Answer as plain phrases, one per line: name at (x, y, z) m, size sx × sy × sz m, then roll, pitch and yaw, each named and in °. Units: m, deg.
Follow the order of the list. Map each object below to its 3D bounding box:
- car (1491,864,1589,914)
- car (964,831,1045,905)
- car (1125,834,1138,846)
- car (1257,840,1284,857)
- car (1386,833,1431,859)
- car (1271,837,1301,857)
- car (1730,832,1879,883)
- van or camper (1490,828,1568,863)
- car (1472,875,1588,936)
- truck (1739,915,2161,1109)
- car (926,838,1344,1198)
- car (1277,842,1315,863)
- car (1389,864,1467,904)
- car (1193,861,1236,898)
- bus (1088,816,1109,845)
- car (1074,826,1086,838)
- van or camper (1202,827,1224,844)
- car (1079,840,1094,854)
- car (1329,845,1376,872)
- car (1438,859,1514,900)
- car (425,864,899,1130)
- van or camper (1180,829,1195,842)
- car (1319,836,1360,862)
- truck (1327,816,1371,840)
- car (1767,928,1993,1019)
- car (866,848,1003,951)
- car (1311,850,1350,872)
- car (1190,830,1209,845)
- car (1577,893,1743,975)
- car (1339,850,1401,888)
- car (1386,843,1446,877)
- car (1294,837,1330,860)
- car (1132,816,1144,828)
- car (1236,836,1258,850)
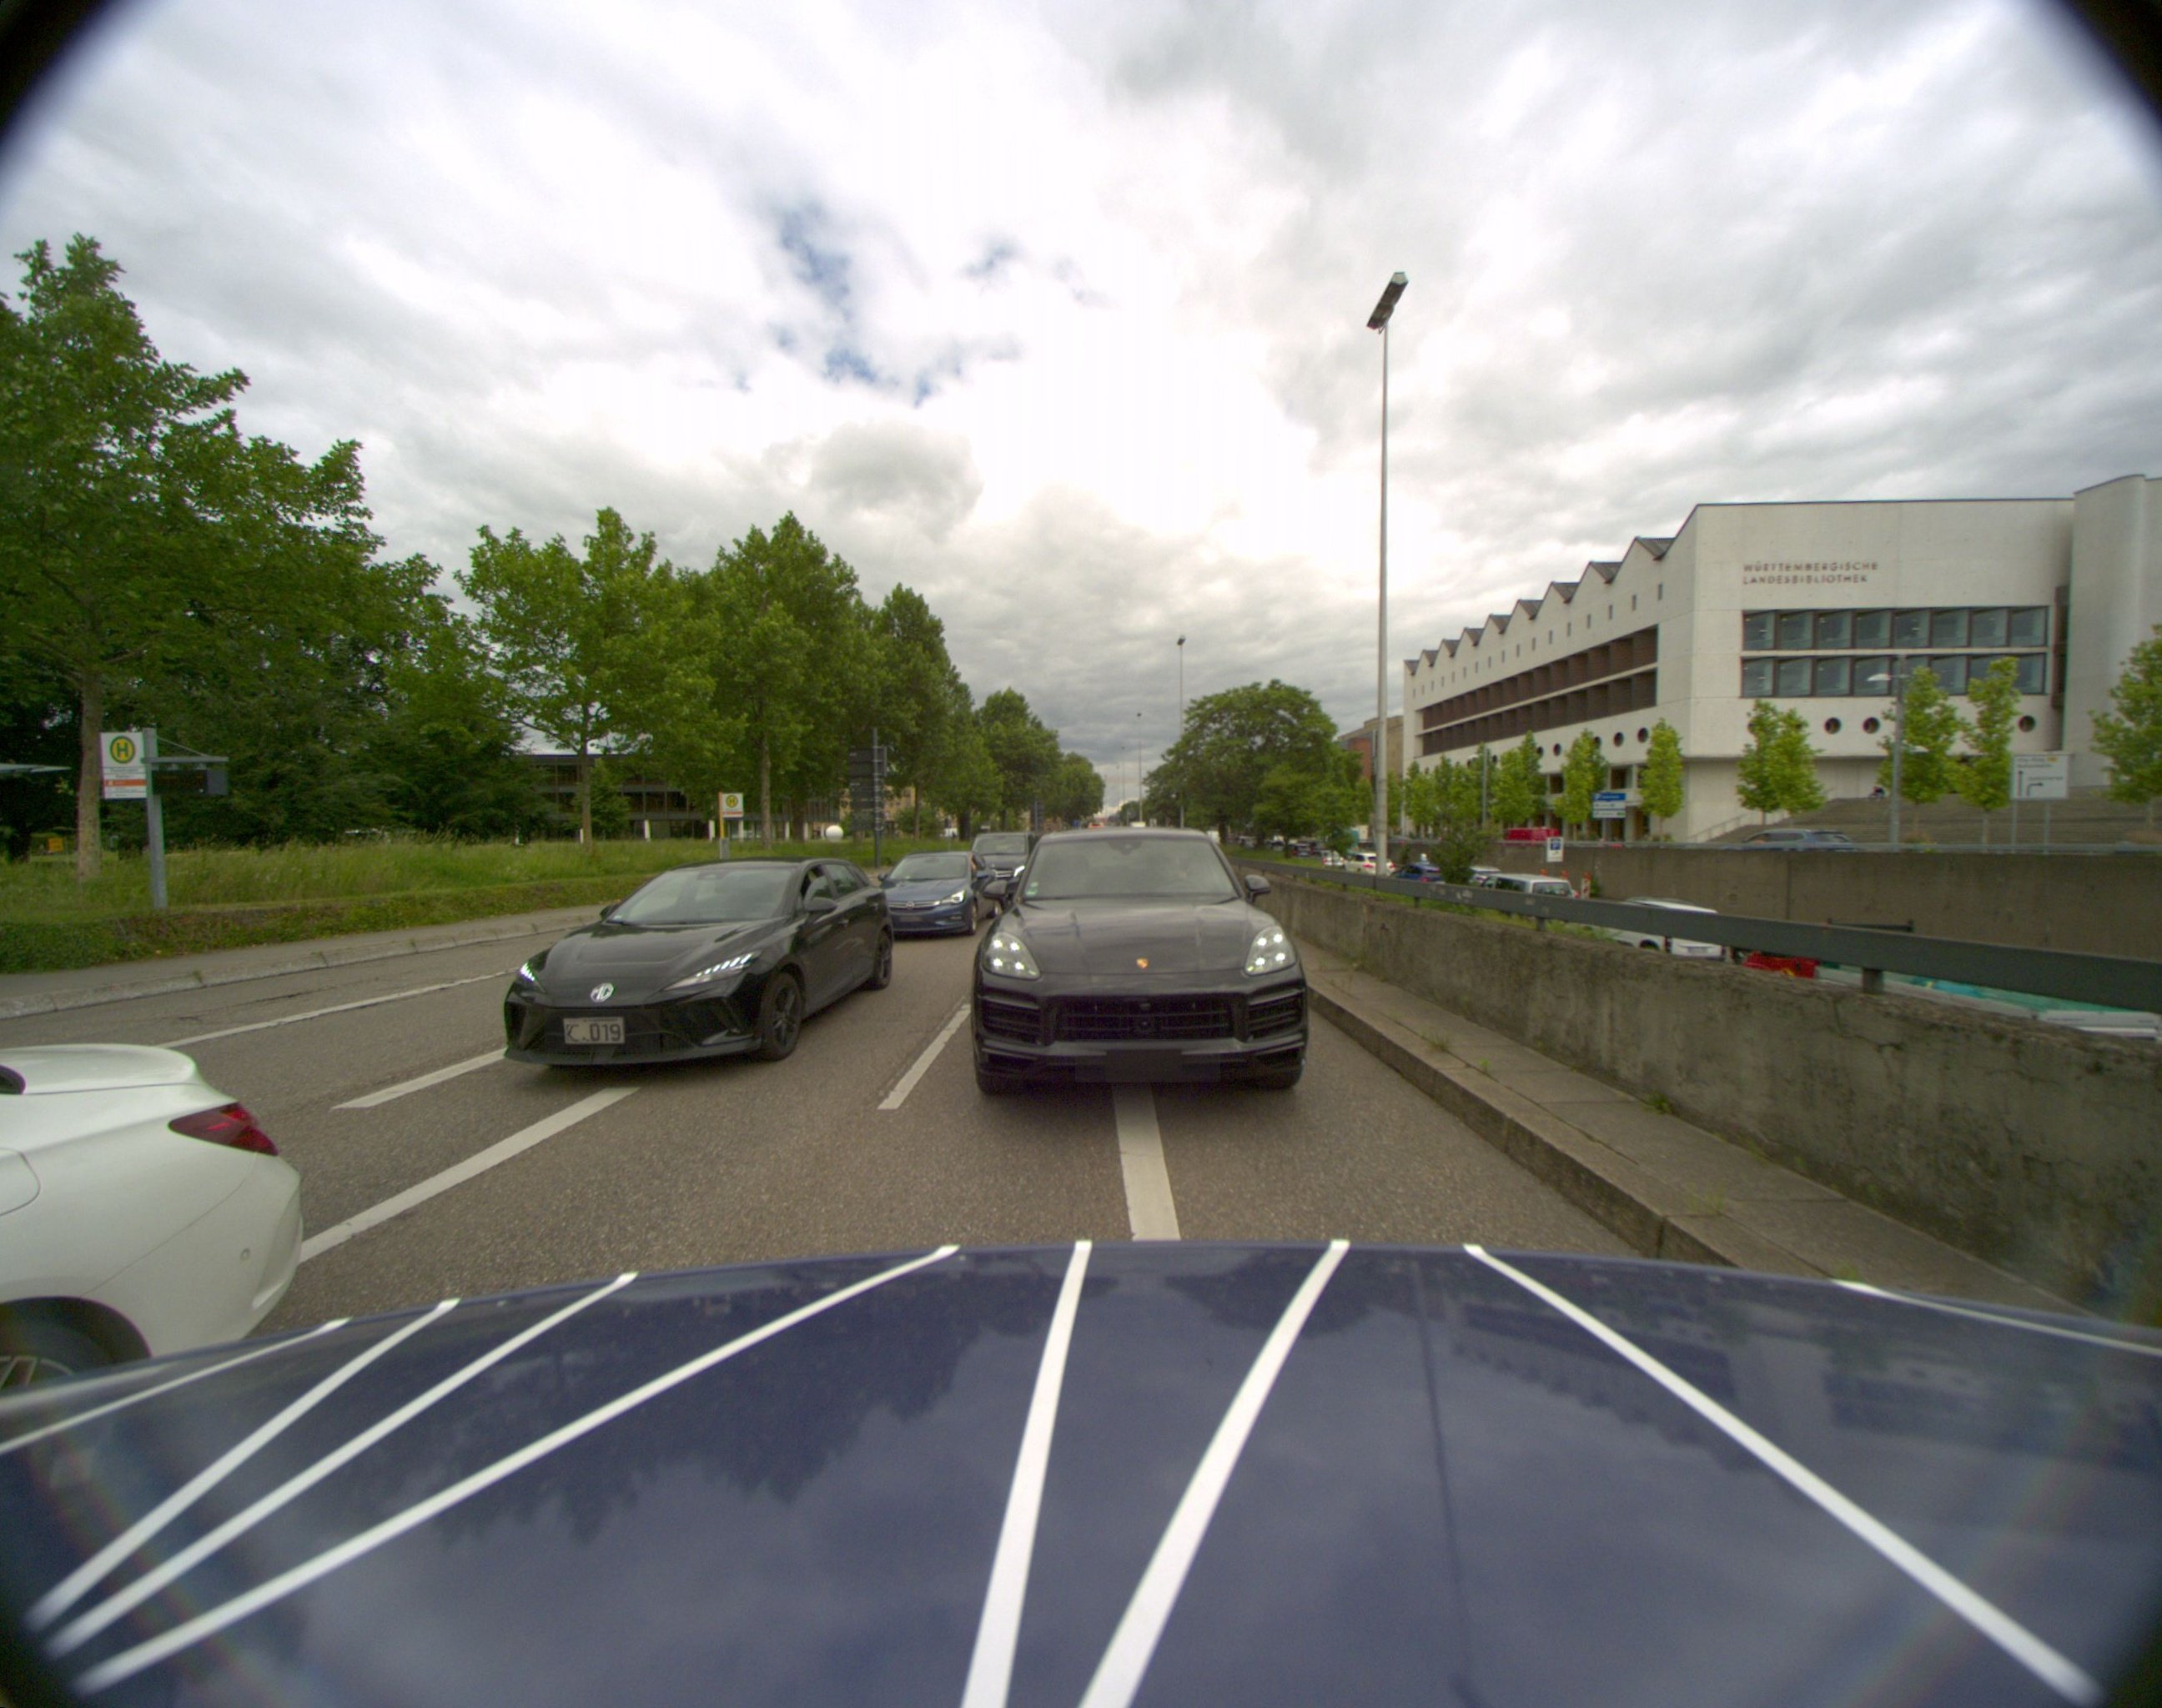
car at (20.866, 1.549, 34.737) m, size 1.998 × 2.002 × 4.000 m, roll 2°, pitch 1°, yaw 1°
car at (-2.067, 0.316, 21.681) m, size 1.723 × 1.851 × 4.430 m, roll -2°, pitch 1°, yaw 1°
car at (8.681, -2.429, 130.848) m, size 1.998 × 2.002 × 4.000 m, roll -1°, pitch 0°, yaw 1°
car at (17.219, -0.510, 69.163) m, size 1.675 × 1.477 × 3.361 m, roll -2°, pitch 1°, yaw 1°
car at (27.399, -0.703, 63.650) m, size 1.999 × 2.002 × 3.999 m, roll -2°, pitch 1°, yaw -1°
car at (21.357, -0.730, 79.253) m, size 1.998 × 2.002 × 4.000 m, roll 2°, pitch 1°, yaw 1°
car at (28.009, 0.130, 29.616) m, size 1.998 × 1.805 × 4.000 m, roll -1°, pitch 0°, yaw 1°
van or camper at (27.442, -0.512, 46.759) m, size 1.999 × 2.002 × 4.556 m, roll -1°, pitch 0°, yaw -1°
car at (17.668, 1.966, 30.162) m, size 1.998 × 2.002 × 4.332 m, roll 2°, pitch 1°, yaw 1°
truck at (17.325, 2.888, 15.707) m, size 2.324 × 2.675 × 5.978 m, roll -2°, pitch 1°, yaw 1°
car at (0.293, 0.765, 5.944) m, size 1.937 × 1.668 × 4.679 m, roll -2°, pitch 1°, yaw 1°
car at (17.407, -0.140, 61.762) m, size 1.998 × 1.650 × 4.000 m, roll -1°, pitch 1°, yaw 1°
car at (17.697, 1.485, 38.995) m, size 1.998 × 1.733 × 4.281 m, roll 2°, pitch 1°, yaw 1°
car at (8.255, 1.543, 47.414) m, size 1.998 × 2.002 × 3.999 m, roll -2°, pitch 1°, yaw 1°
bus at (2.675, -3.624, 120.501) m, size 3.043 × 4.328 × 8.747 m, roll -1°, pitch 1°, yaw 0°
car at (-0.163, -4.190, 145.155) m, size 1.999 × 2.002 × 3.998 m, roll -2°, pitch 1°, yaw -4°
van or camper at (16.782, -2.329, 96.809) m, size 2.036 × 2.002 × 4.000 m, roll -2°, pitch 1°, yaw 1°
car at (0.615, -0.732, 80.569) m, size 1.565 × 1.409 × 3.619 m, roll -2°, pitch 1°, yaw 1°
car at (21.172, 0.321, 59.427) m, size 1.998 × 2.002 × 4.655 m, roll -2°, pitch 1°, yaw 1°
car at (21.123, 1.322, 40.816) m, size 1.998 × 2.002 × 4.000 m, roll 2°, pitch 1°, yaw 1°
car at (-3.086, 0.919, 6.762) m, size 1.829 × 1.515 × 4.119 m, roll -2°, pitch 1°, yaw 1°
van or camper at (17.595, -3.054, 125.709) m, size 2.036 × 2.002 × 4.000 m, roll -2°, pitch 1°, yaw 1°
car at (21.497, -0.437, 63.316) m, size 1.998 × 2.002 × 4.000 m, roll 2°, pitch 1°, yaw 1°
truck at (26.747, -2.569, 76.037) m, size 2.002 × 2.145 × 5.616 m, roll -2°, pitch 1°, yaw -5°
car at (21.342, 3.119, 20.569) m, size 1.998 × 1.805 × 3.864 m, roll 0°, pitch 1°, yaw 0°
car at (-2.508, 0.709, 13.974) m, size 1.573 × 1.528 × 4.001 m, roll -2°, pitch 1°, yaw 2°
car at (17.707, 0.491, 54.051) m, size 1.675 × 1.477 × 3.361 m, roll -1°, pitch 1°, yaw 1°
car at (17.127, -2.330, 109.998) m, size 1.998 × 2.002 × 4.000 m, roll -5°, pitch 1°, yaw 1°
car at (17.528, 2.337, 23.295) m, size 1.998 × 2.002 × 4.000 m, roll 2°, pitch 1°, yaw 1°
car at (17.799, 0.870, 47.017) m, size 1.998 × 2.119 × 4.851 m, roll 2°, pitch 1°, yaw 1°
car at (21.090, 0.338, 47.981) m, size 1.998 × 2.002 × 4.000 m, roll 2°, pitch 1°, yaw 1°
car at (21.065, -0.486, 69.473) m, size 1.998 × 2.002 × 4.000 m, roll 2°, pitch 1°, yaw 1°
car at (10.955, -6.144, 145.728) m, size 1.997 × 2.002 × 4.002 m, roll -2°, pitch 1°, yaw 9°
car at (17.674, -1.152, 80.981) m, size 1.675 × 1.477 × 3.361 m, roll -2°, pitch 1°, yaw 1°
